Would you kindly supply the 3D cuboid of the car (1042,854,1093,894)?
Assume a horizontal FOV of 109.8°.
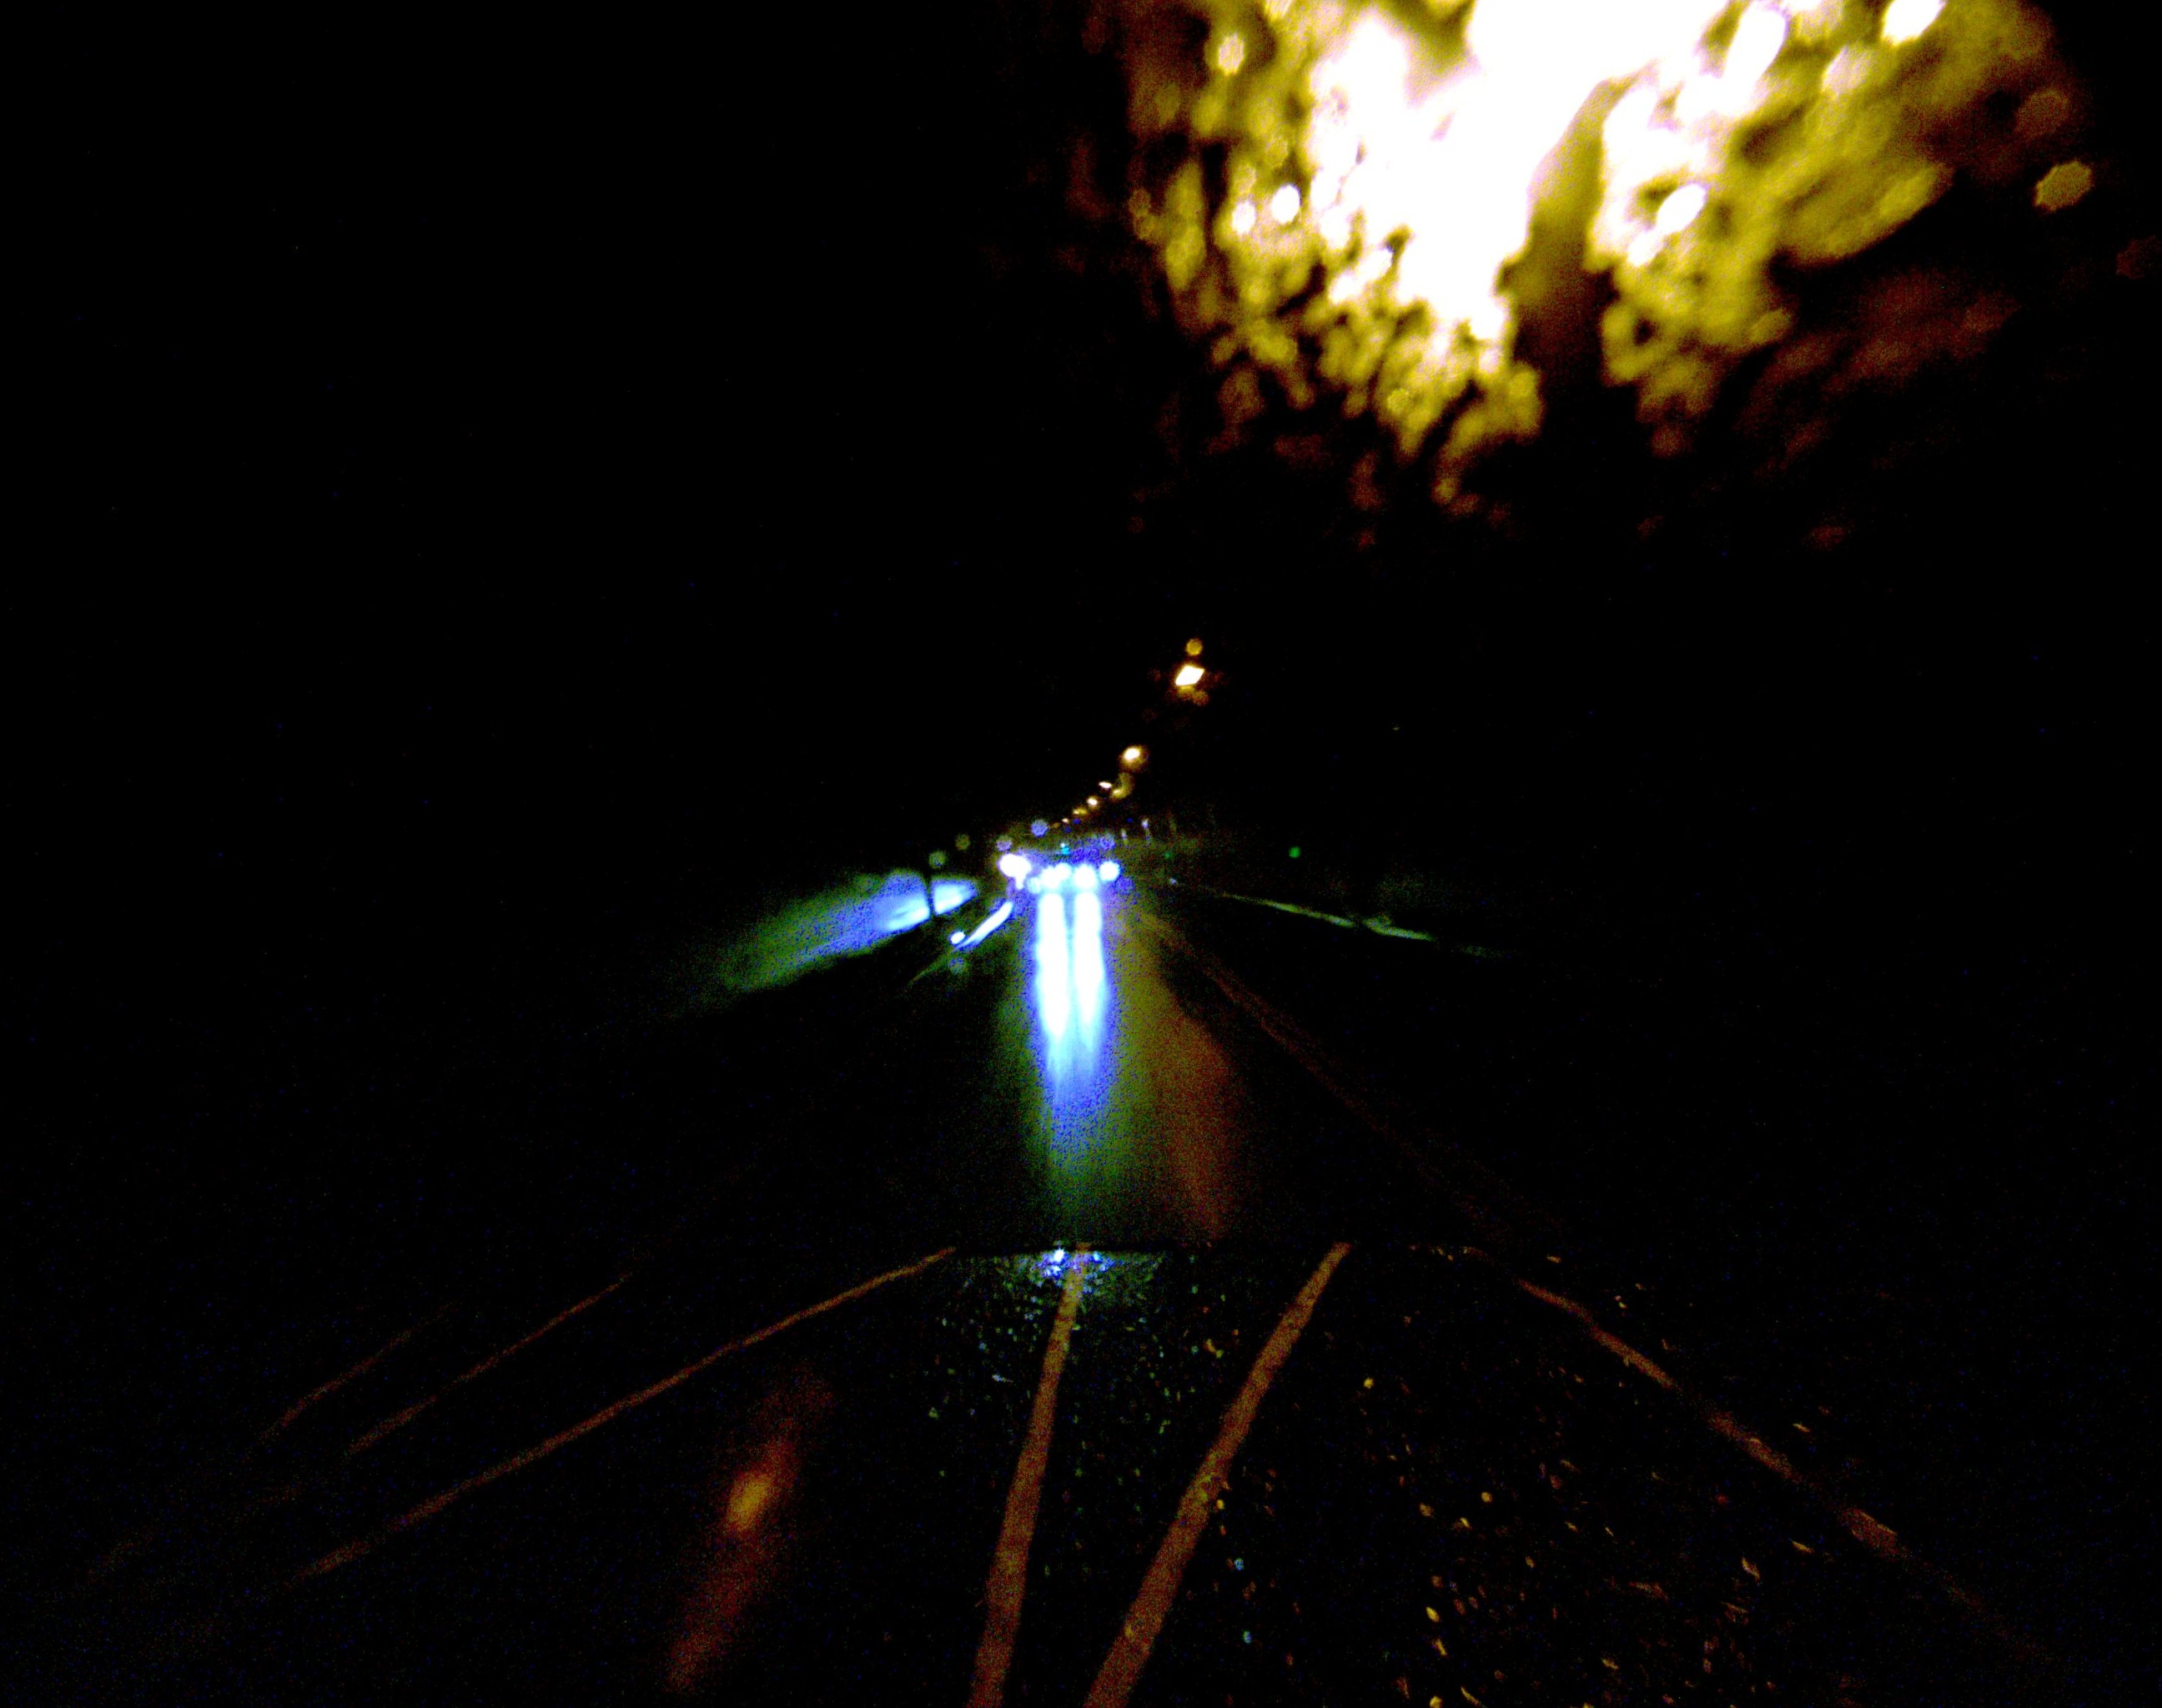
[{"bbox_3d":[-0.661,0.840,33.913,1.999,1.547,3.998,-2,1,-4],"label":"car"}]
